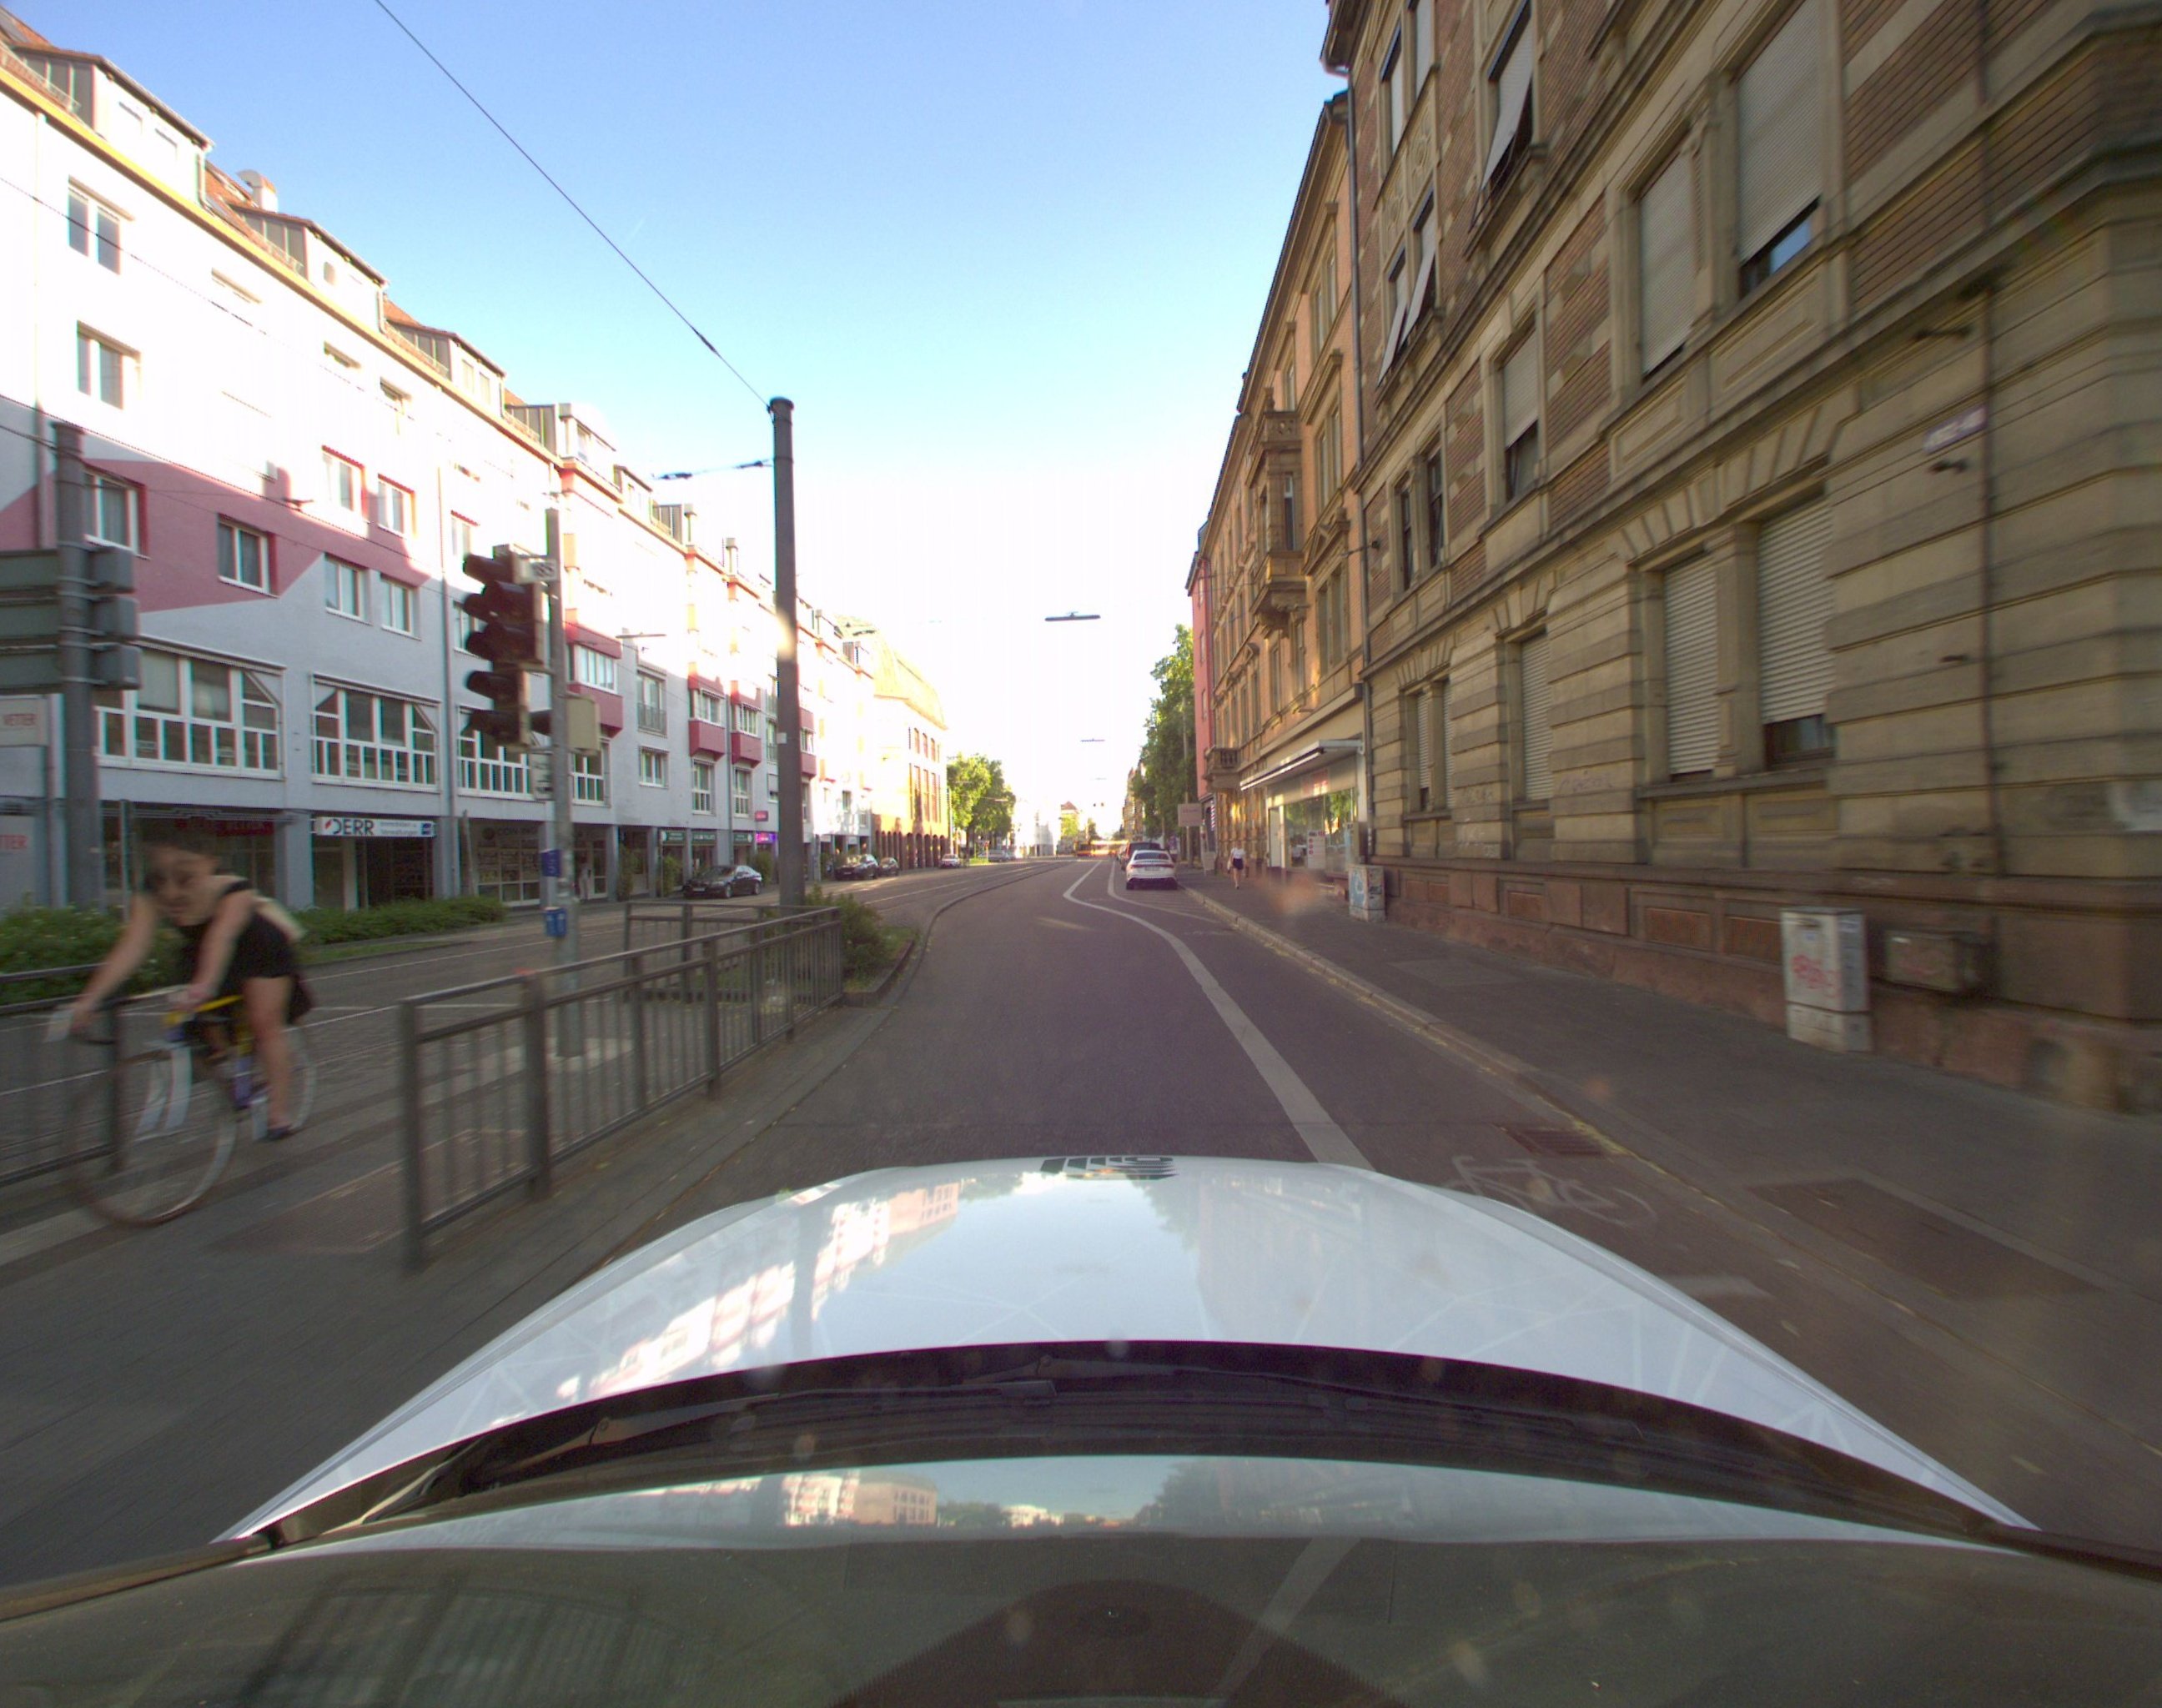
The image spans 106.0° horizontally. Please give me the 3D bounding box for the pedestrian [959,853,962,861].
[{"bbox_3d":[-18.397,0.466,124.443,0.363,1.343,0.480,1,0,-18],"label":"pedestrian"}]

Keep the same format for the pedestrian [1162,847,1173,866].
[{"bbox_3d":[7.343,0.174,69.435,0.772,1.567,0.914,-5,0,3],"label":"pedestrian"}]

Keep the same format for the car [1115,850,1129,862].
[{"bbox_3d":[5.396,0.257,107.943,1.716,1.567,4.085,-2,0,2],"label":"car"}]

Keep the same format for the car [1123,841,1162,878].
[{"bbox_3d":[3.248,0.280,43.422,1.947,1.869,4.993,0,0,3],"label":"car"}]

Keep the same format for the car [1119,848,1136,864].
[{"bbox_3d":[4.477,0.175,78.271,1.614,1.431,3.987,-1,0,3],"label":"car"}]

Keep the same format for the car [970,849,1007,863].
[{"bbox_3d":[-14.512,0.334,127.791,5.285,2.043,2.395,1,-2,-30],"label":"car"}]

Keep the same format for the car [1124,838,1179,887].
[{"bbox_3d":[2.658,0.300,31.505,1.958,1.771,4.879,0,0,3],"label":"car"}]

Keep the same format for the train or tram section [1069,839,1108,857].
[{"bbox_3d":[1.907,-1.429,192.776,2.666,3.960,12.166,1,0,36],"label":"train or tram section"}]

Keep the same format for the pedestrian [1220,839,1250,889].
[{"bbox_3d":[5.132,0.318,27.182,0.772,1.567,0.915,-5,0,5],"label":"pedestrian"}]

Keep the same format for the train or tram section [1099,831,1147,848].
[{"bbox_3d":[10.483,-3.451,201.179,12.892,3.878,2.673,1,0,-34],"label":"train or tram section"}]

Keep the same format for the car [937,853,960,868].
[{"bbox_3d":[-14.517,0.722,89.569,1.864,1.600,4.253,-1,0,-1],"label":"car"}]

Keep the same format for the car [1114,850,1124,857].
[{"bbox_3d":[7.825,-0.033,167.511,2.058,1.389,4.227,1,0,2],"label":"car"}]

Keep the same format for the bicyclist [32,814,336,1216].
[{"bbox_3d":[-3.916,0.633,3.626,0.532,1.578,0.743,-1,0,-10],"label":"bicyclist"}]

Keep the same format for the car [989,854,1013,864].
[{"bbox_3d":[-14.442,0.900,147.080,3.892,1.627,1.858,1,0,-29],"label":"car"}]

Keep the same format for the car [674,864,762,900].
[{"bbox_3d":[-16.150,1.188,36.498,1.863,1.439,4.706,0,0,0],"label":"car"}]

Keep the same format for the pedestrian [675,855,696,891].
[{"bbox_3d":[-19.196,0.906,39.517,0.612,1.712,0.745,-1,0,0],"label":"pedestrian"}]

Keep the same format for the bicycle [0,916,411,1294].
[{"bbox_3d":[-3.883,0.891,3.560,0.582,1.077,1.893,1,0,-9],"label":"bicycle"}]

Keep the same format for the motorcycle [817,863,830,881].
[{"bbox_3d":[-17.035,1.174,53.884,0.671,1.205,2.130,0,-1,-14],"label":"motorcycle"}]

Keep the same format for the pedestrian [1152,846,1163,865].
[{"bbox_3d":[6.512,0.157,69.493,0.772,1.567,0.914,-5,0,3],"label":"pedestrian"}]

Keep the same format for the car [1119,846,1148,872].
[{"bbox_3d":[3.796,0.344,59.529,1.942,1.788,5.182,0,0,1],"label":"car"}]

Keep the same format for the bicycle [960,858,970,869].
[{"bbox_3d":[-12.008,1.012,84.333,0.580,1.077,2.185,-3,0,0],"label":"bicycle"}]

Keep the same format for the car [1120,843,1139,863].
[{"bbox_3d":[5.289,-0.131,89.165,1.963,2.014,4.562,-3,0,3],"label":"car"}]

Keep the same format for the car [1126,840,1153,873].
[{"bbox_3d":[3.914,0.187,54.140,1.697,2.120,3.711,-1,-1,5],"label":"car"}]

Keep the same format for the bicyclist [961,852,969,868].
[{"bbox_3d":[-12.024,0.617,84.530,0.570,1.712,0.745,-3,0,0],"label":"bicyclist"}]

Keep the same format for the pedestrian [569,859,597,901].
[{"bbox_3d":[-20.883,1.069,34.149,0.741,1.712,0.615,-1,0,-2],"label":"pedestrian"}]

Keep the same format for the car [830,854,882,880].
[{"bbox_3d":[-15.348,0.872,55.795,2.083,1.713,4.820,0,-1,1],"label":"car"}]

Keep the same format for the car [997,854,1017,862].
[{"bbox_3d":[-14.223,0.830,157.382,3.541,1.481,1.567,1,0,-30],"label":"car"}]

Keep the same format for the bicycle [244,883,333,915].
[{"bbox_3d":[-19.040,1.070,19.615,0.455,0.658,1.808,1,0,-3],"label":"bicycle"}]

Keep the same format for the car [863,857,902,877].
[{"bbox_3d":[-15.366,0.973,63.128,1.860,1.450,3.588,0,0,5],"label":"car"}]
